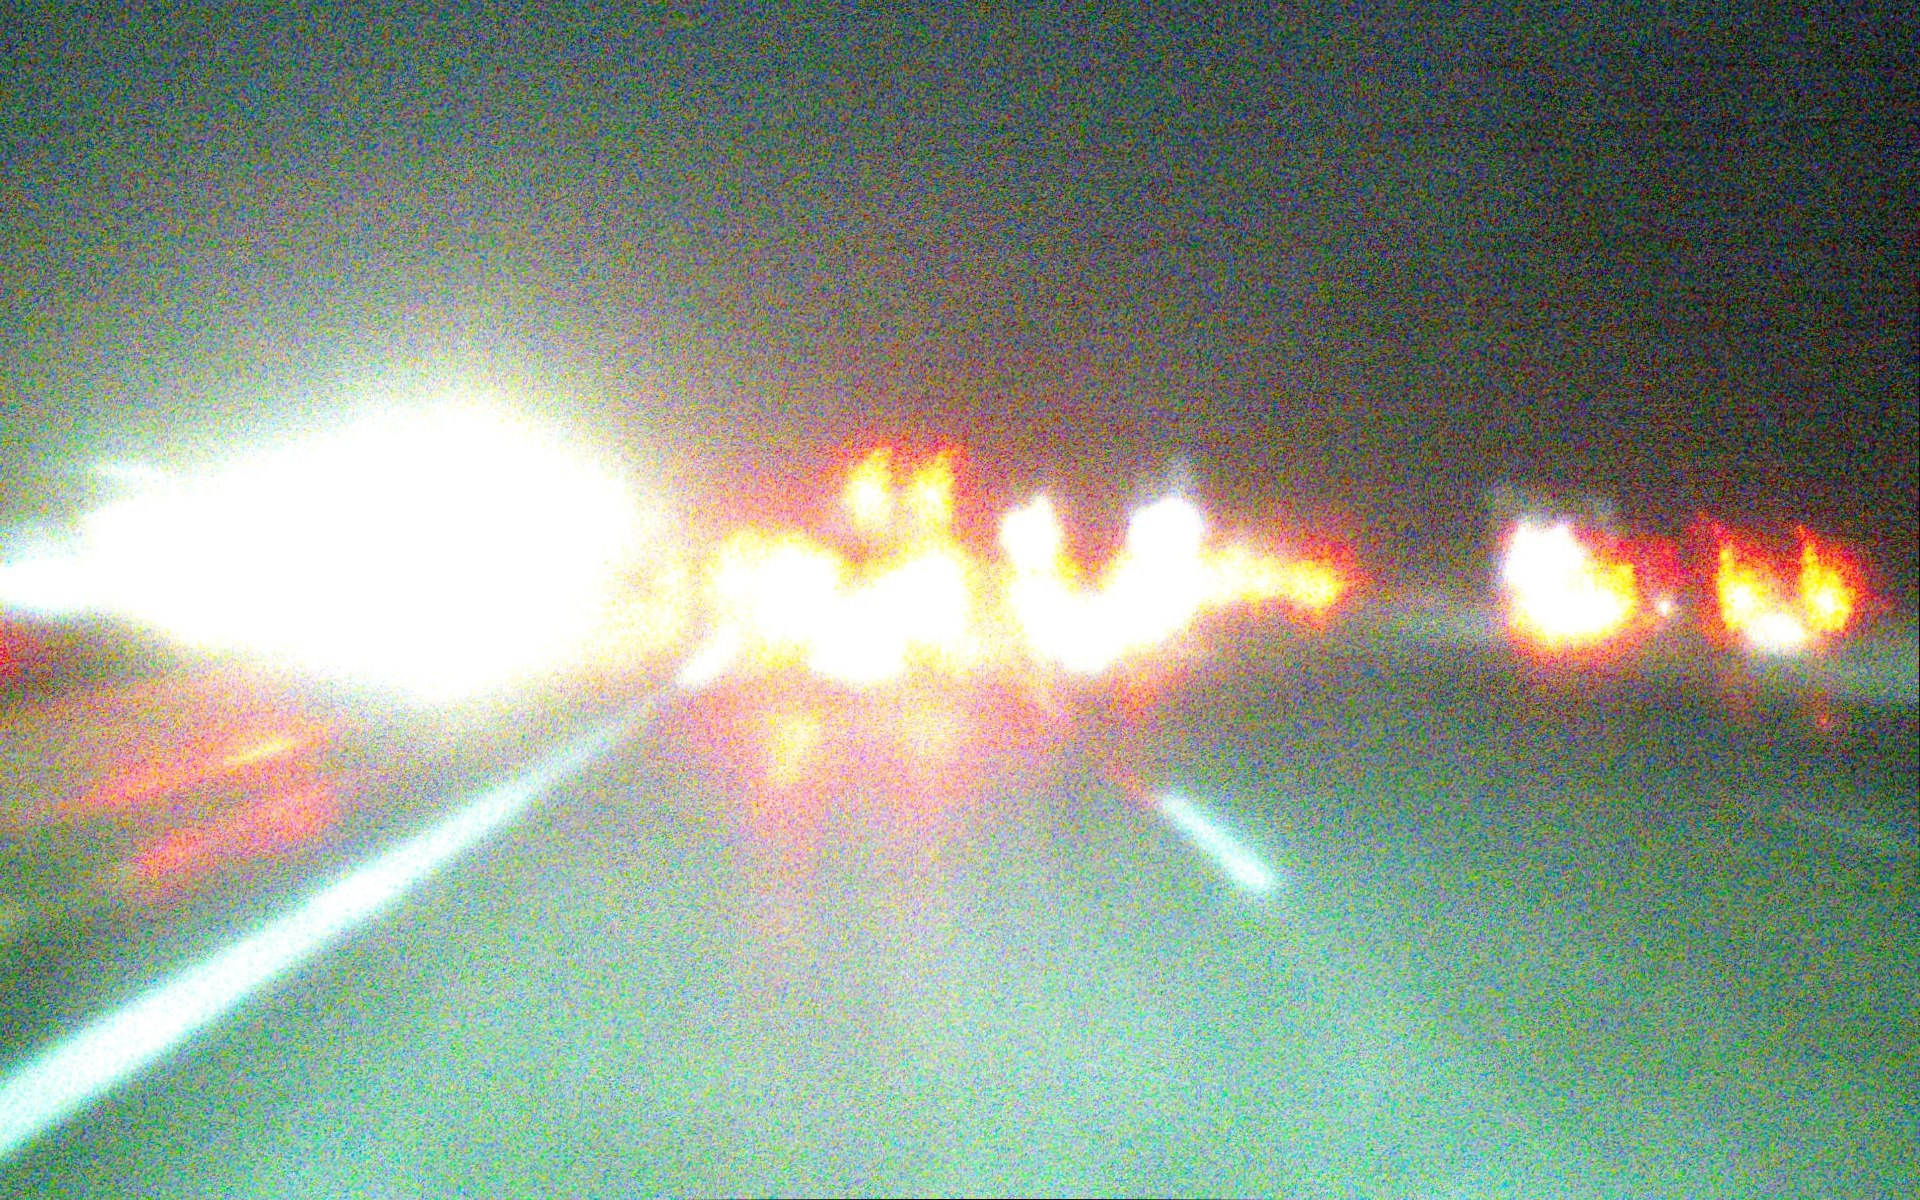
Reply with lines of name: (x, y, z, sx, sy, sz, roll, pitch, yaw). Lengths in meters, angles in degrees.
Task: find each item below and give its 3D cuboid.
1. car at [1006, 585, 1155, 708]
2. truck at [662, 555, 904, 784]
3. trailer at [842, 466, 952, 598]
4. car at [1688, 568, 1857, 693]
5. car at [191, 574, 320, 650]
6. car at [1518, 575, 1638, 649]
car: (1.651, 0.614, 48.494, 1.800, 1.612, 4.257, 0, 1, -2)
truck: (-1.752, 0.632, 36.298, 2.145, 2.070, 6.604, 4, 1, -1)
trailer: (-2.412, -2.628, 126.479, 2.738, 4.233, 13.376, 3, 3, -6)
car: (14.366, 0.505, 61.017, 2.233, 2.007, 4.000, 2, 1, 4)
car: (-14.642, 0.223, 71.619, 1.804, 1.401, 4.288, 4, 1, -1)
car: (14.956, 0.269, 83.393, 1.993, 1.595, 4.000, 4, 1, -2)
